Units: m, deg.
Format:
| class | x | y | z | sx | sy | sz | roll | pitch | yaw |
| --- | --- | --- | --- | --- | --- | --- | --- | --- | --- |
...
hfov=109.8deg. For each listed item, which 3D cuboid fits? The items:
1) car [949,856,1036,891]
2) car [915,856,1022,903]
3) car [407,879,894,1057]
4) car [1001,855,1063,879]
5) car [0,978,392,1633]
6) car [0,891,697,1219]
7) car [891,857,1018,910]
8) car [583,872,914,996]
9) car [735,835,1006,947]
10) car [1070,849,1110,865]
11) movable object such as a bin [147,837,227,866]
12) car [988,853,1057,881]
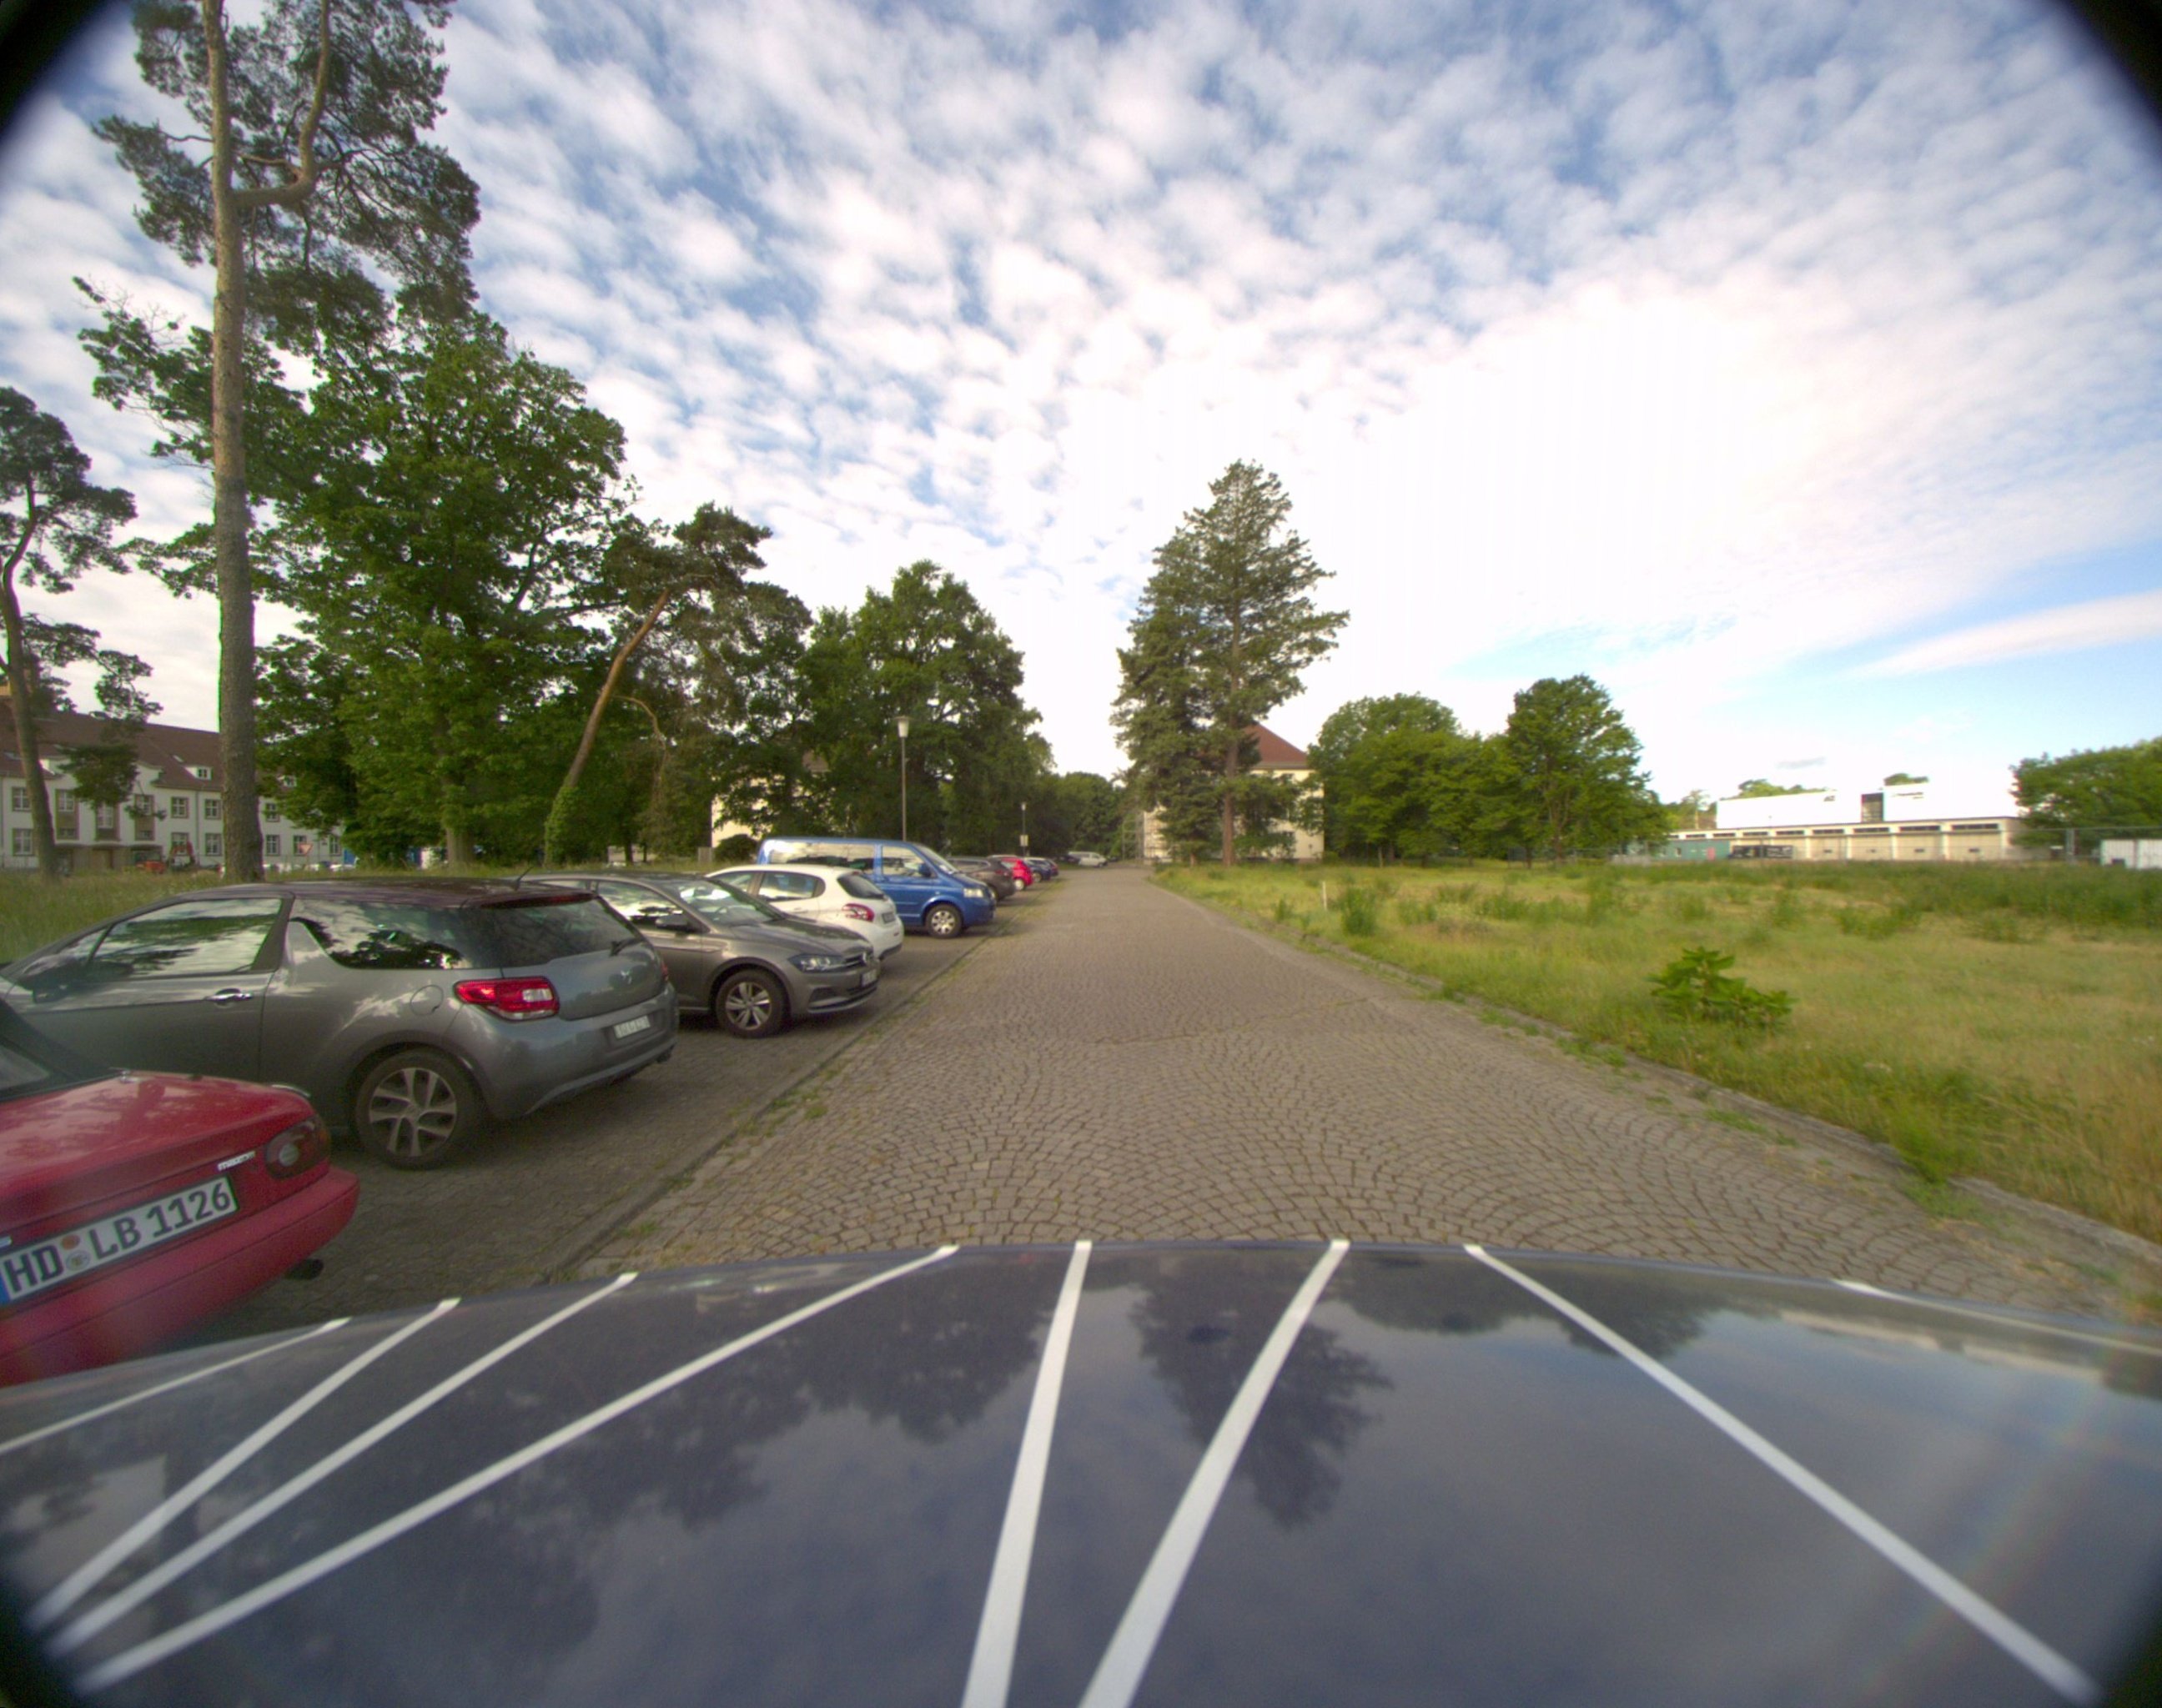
| class | x | y | z | sx | sy | sz | roll | pitch | yaw |
| --- | --- | --- | --- | --- | --- | --- | --- | --- | --- |
| car | -3.985 | 0.876 | 34.705 | 3.838 | 1.516 | 1.581 | 0 | 0 | -3 |
| car | -3.990 | 0.890 | 27.274 | 3.633 | 1.592 | 1.581 | 0 | 0 | -2 |
| car | -3.931 | 1.004 | 7.354 | 3.780 | 1.457 | 1.643 | 0 | 0 | 3 |
| car | -3.210 | 0.839 | 49.863 | 3.836 | 1.520 | 1.674 | 0 | 0 | 6 |
| car | -4.160 | 1.087 | 1.848 | 3.554 | 1.279 | 1.608 | 0 | 2 | 3 |
| car | -4.598 | 1.018 | 4.485 | 3.837 | 1.495 | 1.604 | 0 | 0 | 1 |
| car | -3.969 | 0.918 | 24.351 | 3.838 | 1.592 | 1.581 | 0 | 0 | -3 |
| car | -4.328 | 1.015 | 10.253 | 3.761 | 1.490 | 1.581 | 0 | 0 | 3 |
| car | -4.192 | 0.703 | 15.706 | 4.953 | 2.011 | 2.060 | 2 | 1 | 2 |
| car | 1.123 | 0.369 | 98.515 | 5.129 | 2.002 | 1.804 | 0 | 1 | -1 |
| movable object such as a bin | -88.325 | -0.274 | 75.196 | 1.999 | 2.752 | 5.202 | 0 | 0 | -4 |
| car | -3.430 | 0.769 | 45.092 | 3.836 | 1.609 | 1.582 | 0 | 1 | 6 |
